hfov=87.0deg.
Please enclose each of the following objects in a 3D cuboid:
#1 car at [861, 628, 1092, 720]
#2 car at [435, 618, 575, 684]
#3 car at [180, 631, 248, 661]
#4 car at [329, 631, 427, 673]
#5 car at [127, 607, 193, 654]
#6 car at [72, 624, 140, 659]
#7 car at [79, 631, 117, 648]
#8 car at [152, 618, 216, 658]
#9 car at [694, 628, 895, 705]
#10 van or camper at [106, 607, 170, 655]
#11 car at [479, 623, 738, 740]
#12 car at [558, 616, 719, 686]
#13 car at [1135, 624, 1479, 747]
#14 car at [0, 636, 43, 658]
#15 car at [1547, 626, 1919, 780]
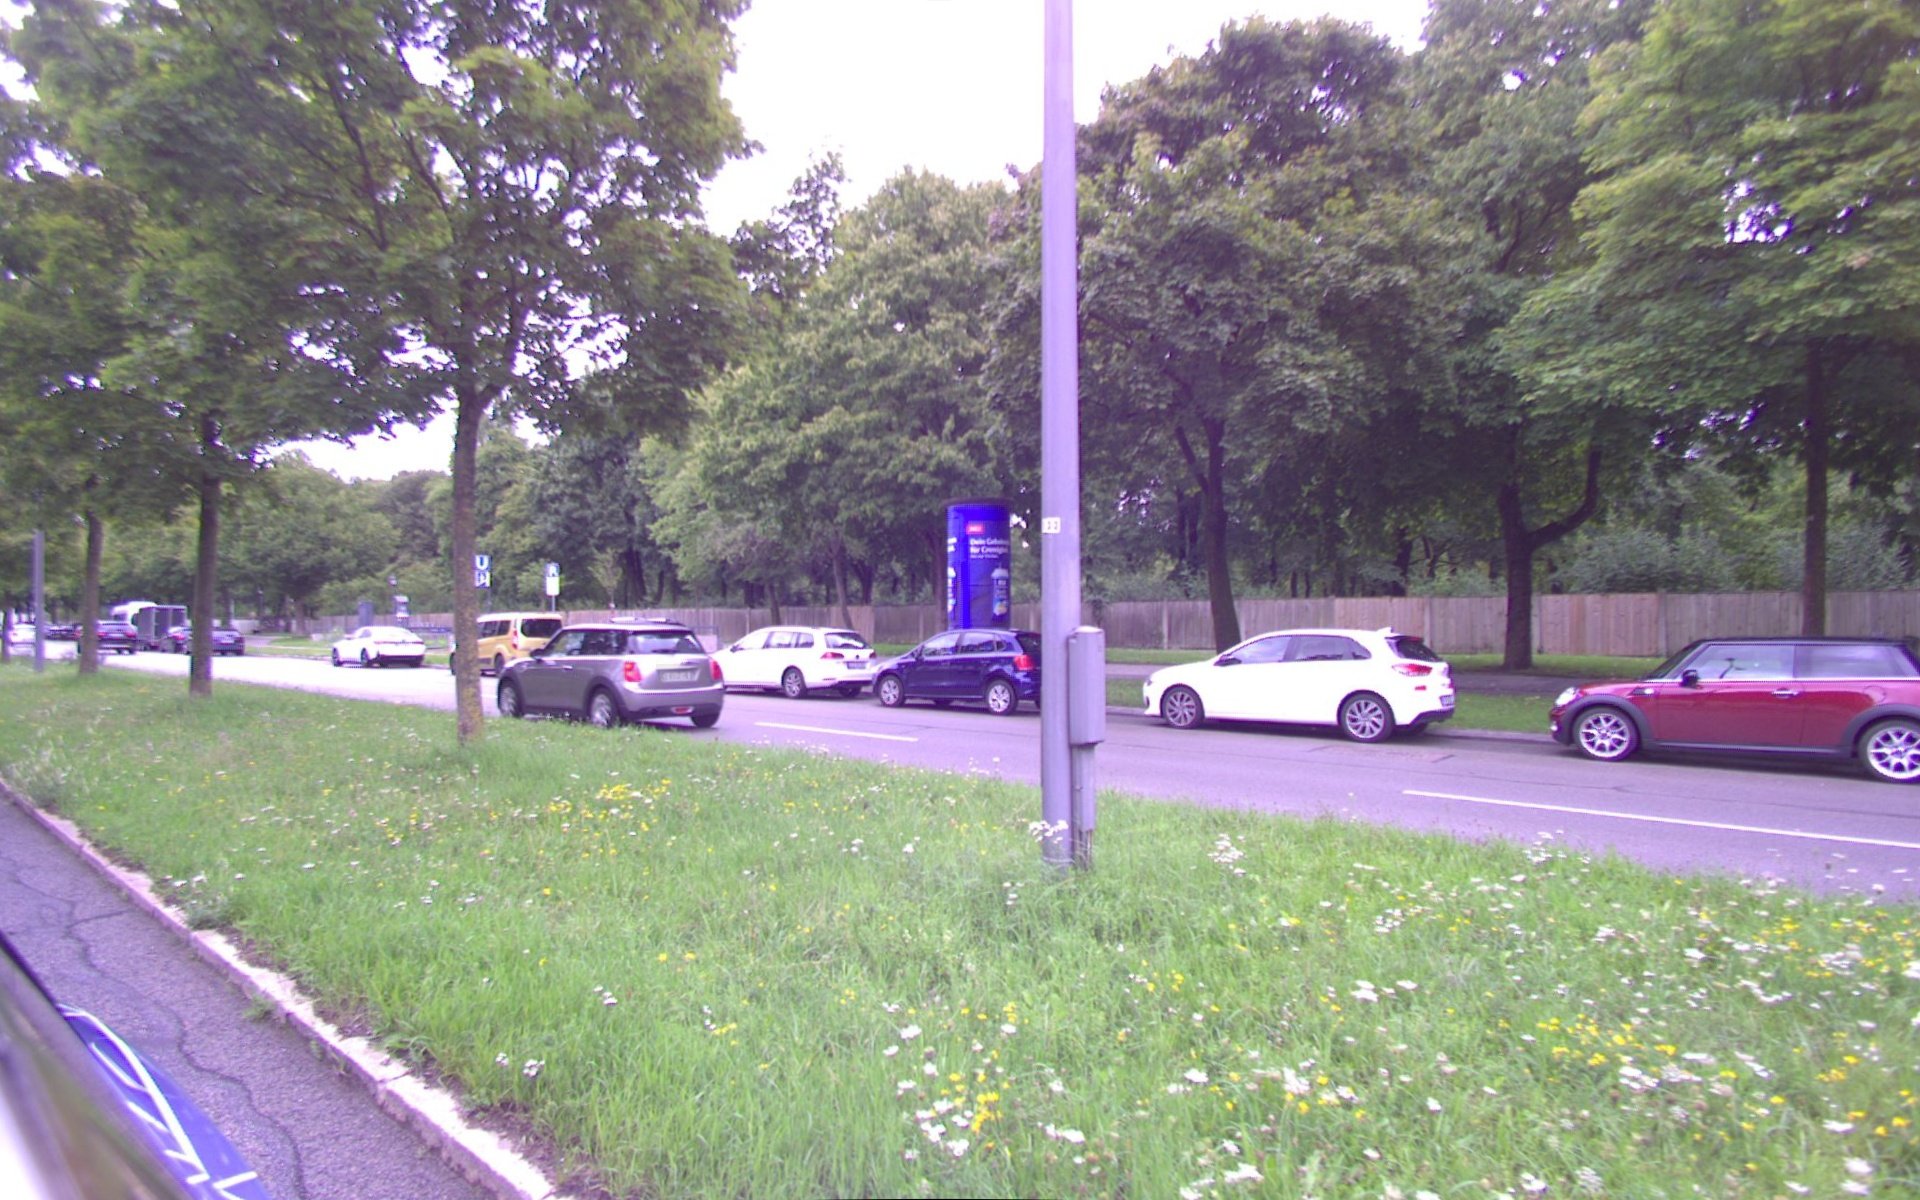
[{"bbox_3d":[0.244,1.247,17.957,3.783,1.457,1.804,-1,-4,39],"label":"car"},{"bbox_3d":[-13.312,1.445,29.530,4.528,1.784,1.839,-1,-3,39],"label":"car"},{"bbox_3d":[-37.063,2.267,50.231,4.036,1.420,1.696,-1,-3,39],"label":"car"},{"bbox_3d":[-21.029,1.838,36.522,4.036,1.454,1.696,-1,-3,39],"label":"car"},{"bbox_3d":[-46.323,1.758,58.556,4.494,2.611,1.974,-1,-3,39],"label":"car"},{"bbox_3d":[-42.751,2.079,50.625,4.497,1.682,1.842,-1,-3,40],"label":"car"},{"bbox_3d":[-74.233,3.416,87.130,4.036,1.420,1.696,-1,-3,39],"label":"car"},{"bbox_3d":[-42.121,2.026,54.878,3.997,2.029,1.973,-1,-1,40],"label":"car"},{"bbox_3d":[-3.566,1.335,21.444,4.296,1.481,1.804,-1,-3,39],"label":"car"},{"bbox_3d":[-50.332,1.875,61.951,4.926,2.829,1.974,-1,-3,39],"label":"van or camper"},{"bbox_3d":[-4.947,1.058,14.030,3.764,1.393,1.700,-2,-4,40],"label":"car"},{"bbox_3d":[-8.201,1.261,25.686,4.036,1.628,1.982,-1,-3,39],"label":"car"},{"bbox_3d":[4.787,1.122,14.328,4.258,1.488,1.802,-2,-4,42],"label":"car"},{"bbox_3d":[-63.977,3.172,68.810,4.497,1.467,1.842,-1,-3,40],"label":"car"},{"bbox_3d":[8.598,1.026,10.907,3.685,1.433,1.632,-2,-4,42],"label":"car"}]
